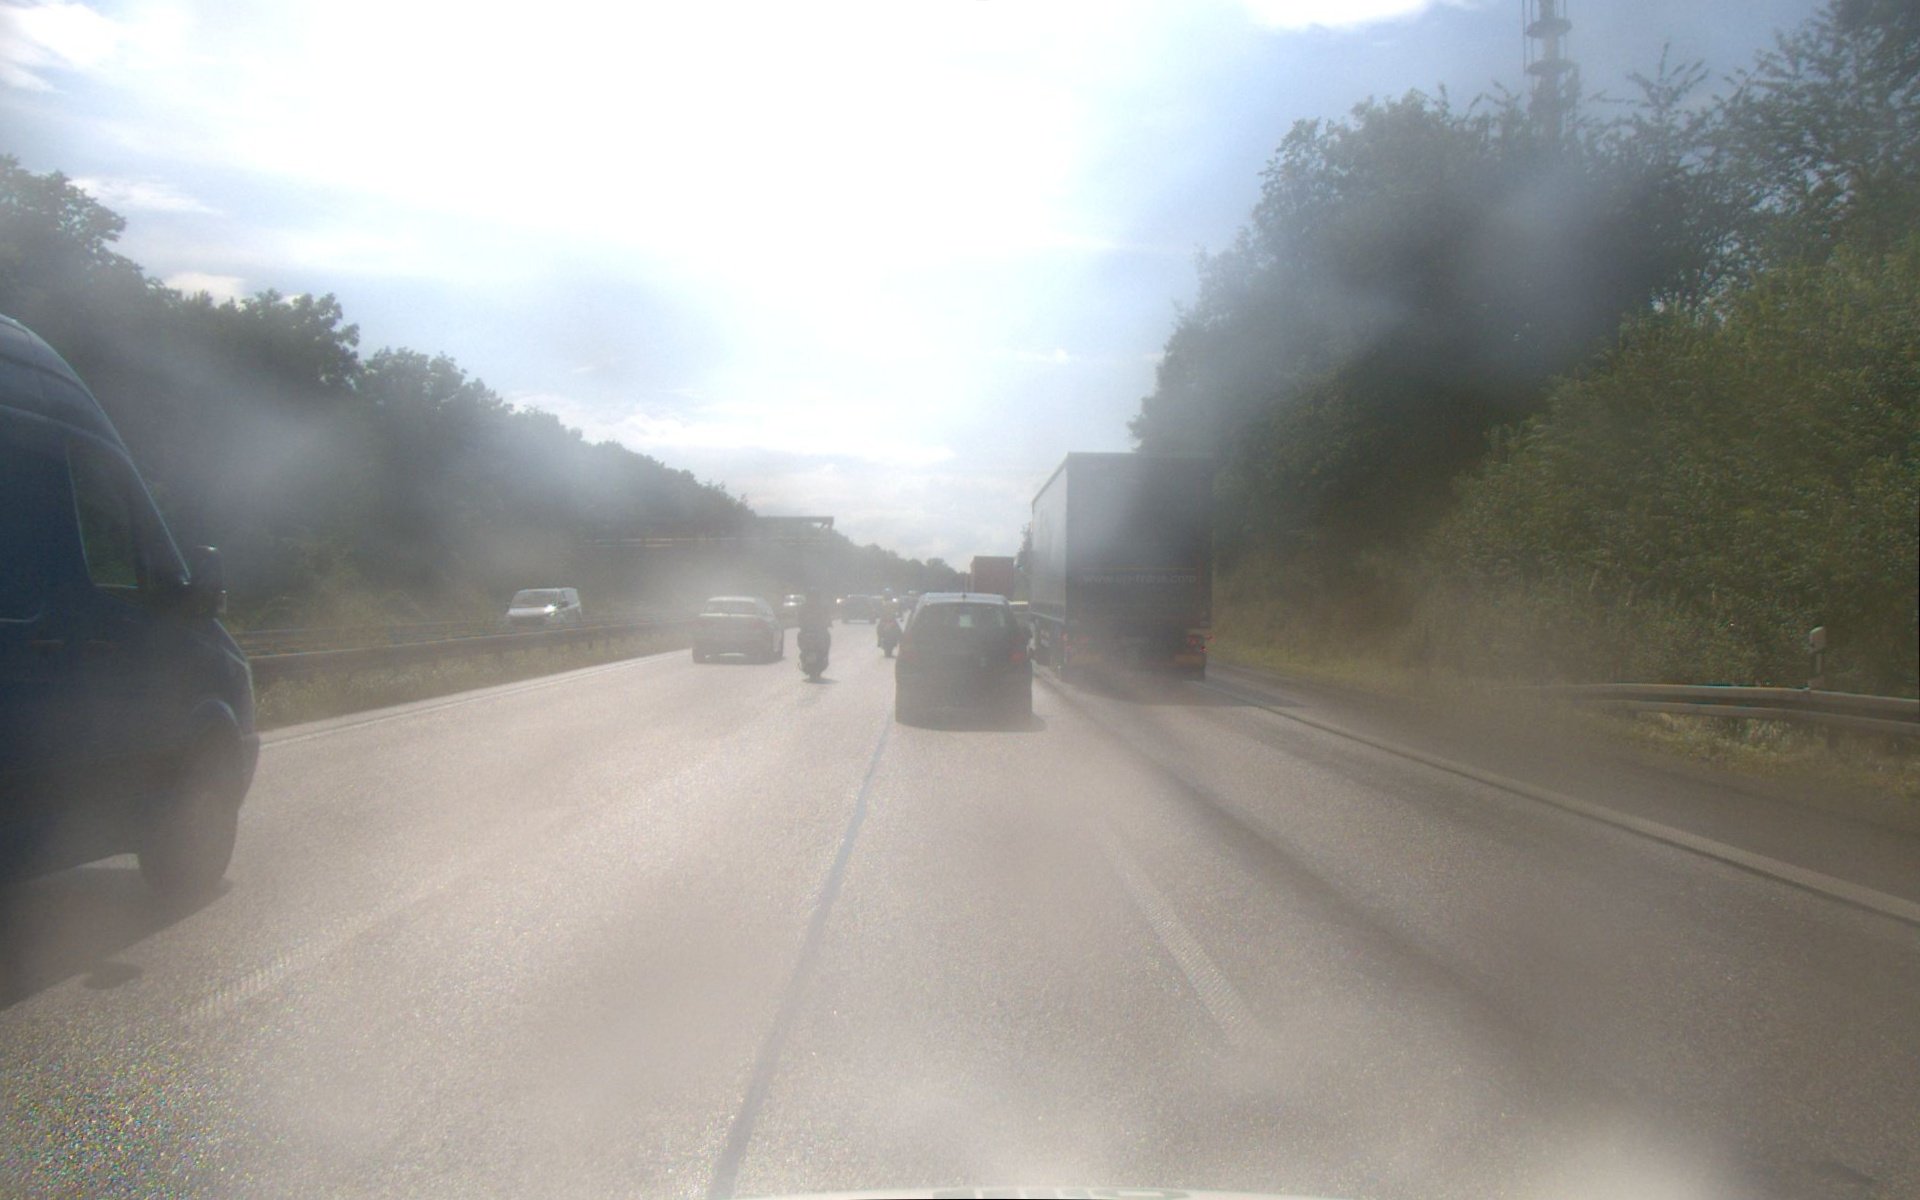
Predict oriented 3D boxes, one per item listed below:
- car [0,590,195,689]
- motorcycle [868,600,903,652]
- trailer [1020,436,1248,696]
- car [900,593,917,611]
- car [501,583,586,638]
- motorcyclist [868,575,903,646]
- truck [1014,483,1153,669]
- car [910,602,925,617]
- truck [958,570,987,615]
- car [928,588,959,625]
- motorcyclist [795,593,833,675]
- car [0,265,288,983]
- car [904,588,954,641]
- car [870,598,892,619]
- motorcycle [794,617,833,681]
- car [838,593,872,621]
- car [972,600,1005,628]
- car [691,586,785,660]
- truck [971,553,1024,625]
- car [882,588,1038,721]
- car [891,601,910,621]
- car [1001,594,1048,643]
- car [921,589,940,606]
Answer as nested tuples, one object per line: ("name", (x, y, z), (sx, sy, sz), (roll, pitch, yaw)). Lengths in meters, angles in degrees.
("car", (-17.943, 0.772, 34.635), (1.885, 1.945, 4.288), (0, 0, -1))
("motorcycle", (-1.934, 0.660, 42.999), (0.803, 1.285, 2.117), (1, 0, 0))
("trailer", (3.211, -0.572, 35.185), (3.026, 4.388, 14.101), (1, 0, -1))
("car", (-6.200, 0.243, 200.077), (1.953, 2.049, 3.999), (1, 0, -1))
("car", (-15.181, 0.376, 60.515), (1.953, 1.866, 4.618), (2, 0, -1))
("motorcyclist", (-1.926, 0.278, 42.954), (0.804, 1.791, 1.390), (1, -1, 0))
("truck", (3.053, -0.574, 42.457), (2.990, 4.400, 5.885), (1, 0, -1))
("car", (-5.669, 1.255, 220.184), (1.953, 2.049, 3.999), (1, 0, -1))
("truck", (1.337, -0.784, 184.046), (2.823, 4.769, 12.655), (1, 0, -1))
("car", (-0.910, 0.372, 91.128), (1.641, 1.970, 3.772), (1, 0, -1))
("motorcyclist", (-2.690, 0.623, 30.467), (0.657, 1.467, 1.019), (1, -1, -4))
("car", (-4.590, 0.086, 6.078), (1.975, 2.695, 5.775), (1, 0, -1))
("car", (-1.262, 0.590, 66.550), (1.953, 2.049, 3.998), (1, 0, -2))
("car", (-6.211, 0.687, 129.872), (1.641, 1.625, 3.435), (1, 0, -1))
("motorcycle", (-2.684, 0.879, 30.376), (0.662, 1.106, 1.980), (1, 0, -4))
("car", (-6.195, 0.408, 98.169), (1.854, 1.656, 4.194), (1, 0, -1))
("car", (1.529, 0.749, 90.581), (1.641, 1.516, 3.435), (1, 0, -1))
("car", (-5.205, 0.516, 39.246), (1.723, 1.622, 4.329), (1, 0, -1))
("truck", (2.405, -0.709, 108.695), (3.137, 4.481, 9.430), (1, 0, -1))
("car", (-0.046, 0.657, 22.134), (1.876, 1.592, 4.312), (1, 0, -1))
("car", (-6.495, 1.206, 181.107), (1.953, 2.049, 3.999), (1, 0, -1))
("car", (2.754, 0.779, 71.679), (1.811, 2.049, 4.086), (1, 0, -1))
("car", (-2.642, -0.227, 147.644), (1.599, 1.516, 3.435), (1, 0, -1))
